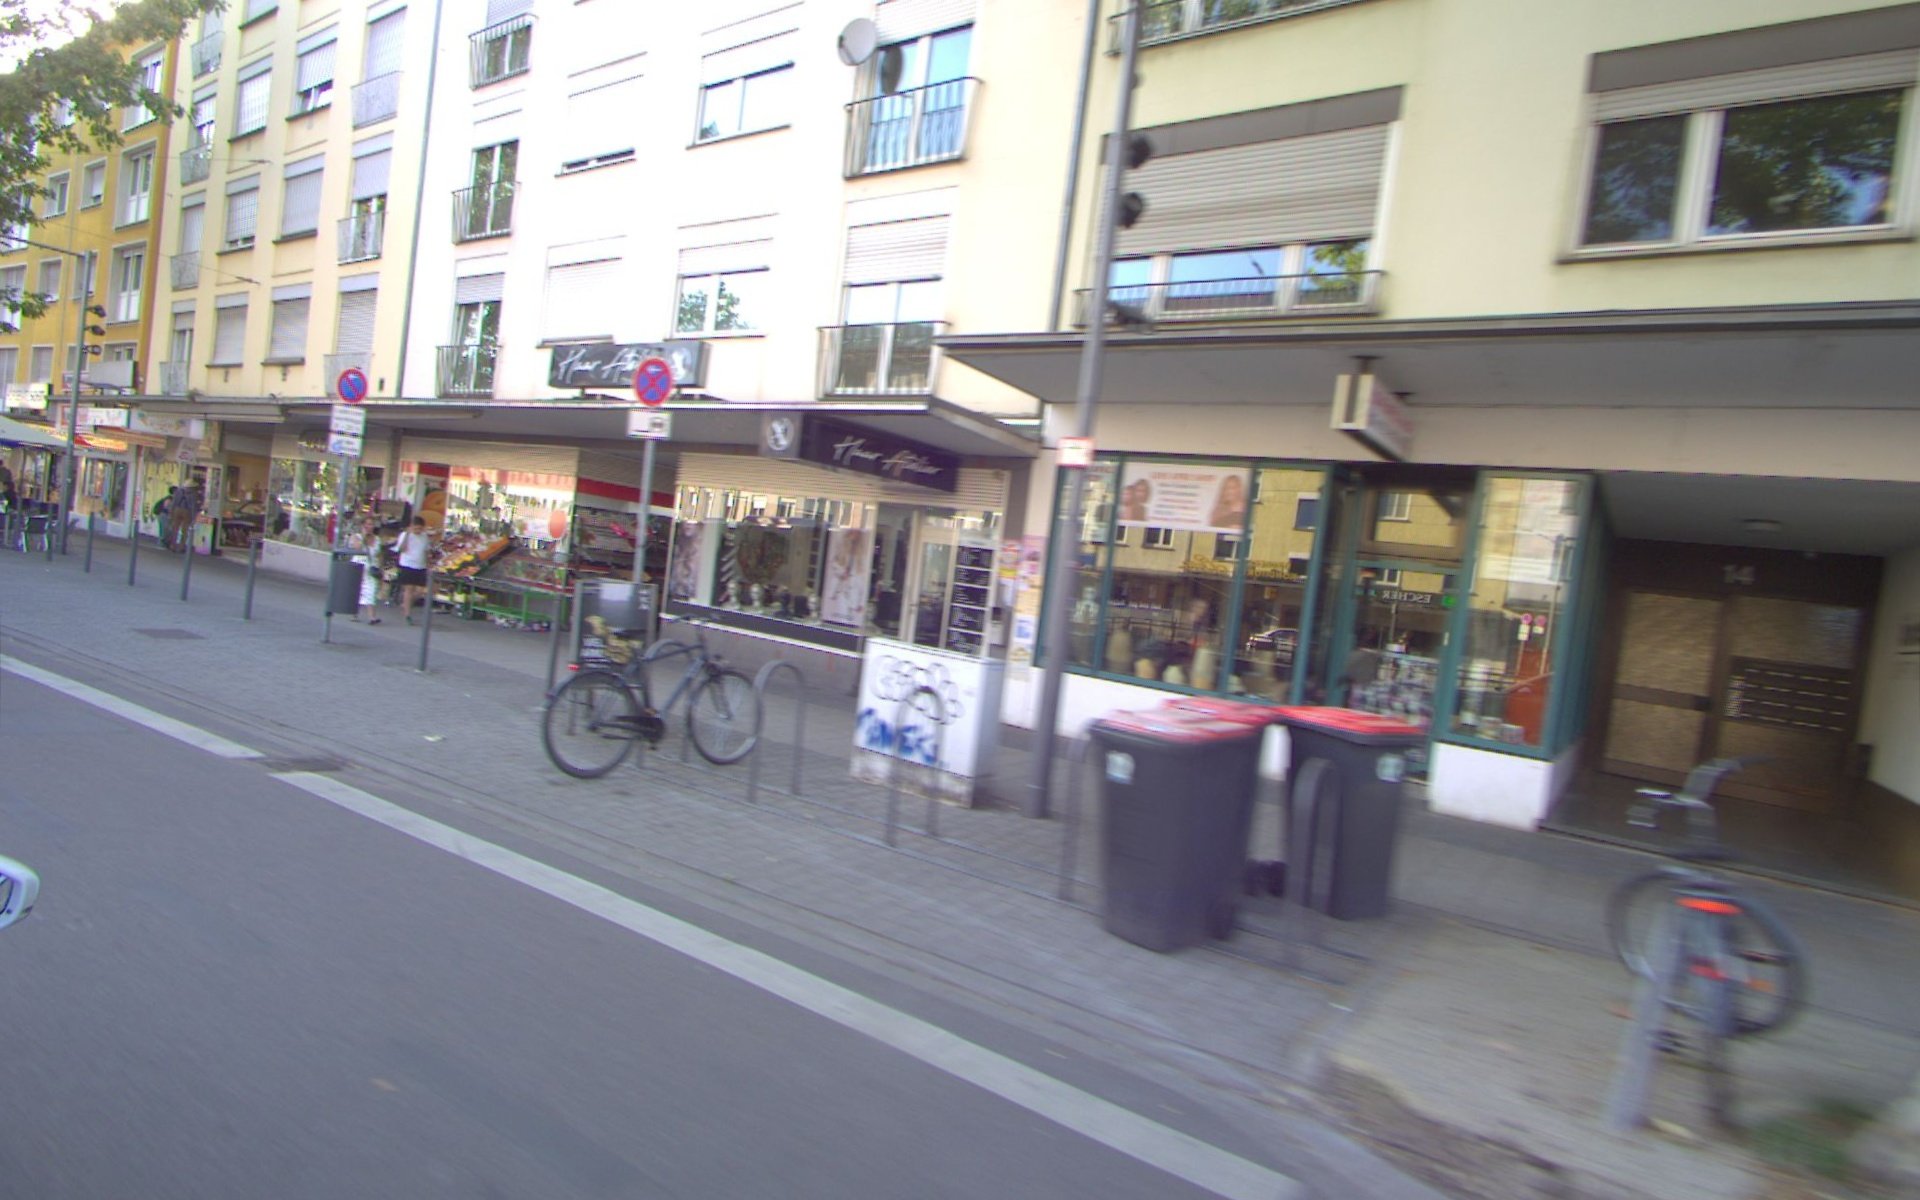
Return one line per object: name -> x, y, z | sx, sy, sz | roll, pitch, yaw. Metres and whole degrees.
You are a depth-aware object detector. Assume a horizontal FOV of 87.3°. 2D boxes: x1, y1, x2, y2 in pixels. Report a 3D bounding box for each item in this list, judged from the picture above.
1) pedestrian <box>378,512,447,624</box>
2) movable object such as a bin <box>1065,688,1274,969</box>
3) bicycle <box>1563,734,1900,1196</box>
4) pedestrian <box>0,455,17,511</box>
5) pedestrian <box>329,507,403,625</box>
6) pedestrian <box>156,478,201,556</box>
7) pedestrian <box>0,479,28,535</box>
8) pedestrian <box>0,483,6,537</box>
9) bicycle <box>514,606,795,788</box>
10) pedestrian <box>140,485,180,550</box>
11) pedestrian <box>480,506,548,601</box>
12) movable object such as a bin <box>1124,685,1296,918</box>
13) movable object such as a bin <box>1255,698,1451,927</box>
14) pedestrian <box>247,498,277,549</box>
pedestrian -> -8.248, -0.472, 15.156 | 0.616, 1.608, 0.621 | 8, 4, 33
movable object such as a bin -> 1.021, 1.050, 4.889 | 0.635, 1.118, 0.720 | 8, 6, 41
bicycle -> 2.738, 1.126, 3.692 | 0.734, 1.130, 1.718 | 4, -2, 35
pedestrian -> -31.970, -3.927, 33.466 | 0.775, 1.817, 0.706 | 8, 5, 33
pedestrian -> -8.467, -0.479, 14.343 | 0.616, 1.608, 0.635 | 8, 4, 33
pedestrian -> -19.356, -2.044, 24.922 | 0.629, 1.827, 0.622 | 6, 2, -27
pedestrian -> -23.798, -2.339, 25.022 | 0.746, 1.290, 0.584 | 8, 0, 28
pedestrian -> -22.848, -2.160, 23.448 | 0.732, 1.240, 0.607 | 8, 1, 28
bicycle -> -2.142, 0.655, 7.280 | 0.511, 1.120, 1.902 | 8, 4, 41
pedestrian -> -20.514, -2.108, 25.819 | 0.620, 1.566, 0.632 | 6, 2, -32
pedestrian -> -8.959, -0.933, 20.219 | 0.866, 1.764, 0.685 | 8, 0, 31
movable object such as a bin -> 1.408, 1.076, 5.620 | 0.633, 1.086, 0.722 | 7, 3, 32
movable object such as a bin -> 2.185, 1.137, 5.611 | 0.718, 1.086, 0.637 | 4, 3, -37
pedestrian -> -18.887, -2.064, 27.223 | 0.499, 1.313, 0.426 | 8, 2, 31
